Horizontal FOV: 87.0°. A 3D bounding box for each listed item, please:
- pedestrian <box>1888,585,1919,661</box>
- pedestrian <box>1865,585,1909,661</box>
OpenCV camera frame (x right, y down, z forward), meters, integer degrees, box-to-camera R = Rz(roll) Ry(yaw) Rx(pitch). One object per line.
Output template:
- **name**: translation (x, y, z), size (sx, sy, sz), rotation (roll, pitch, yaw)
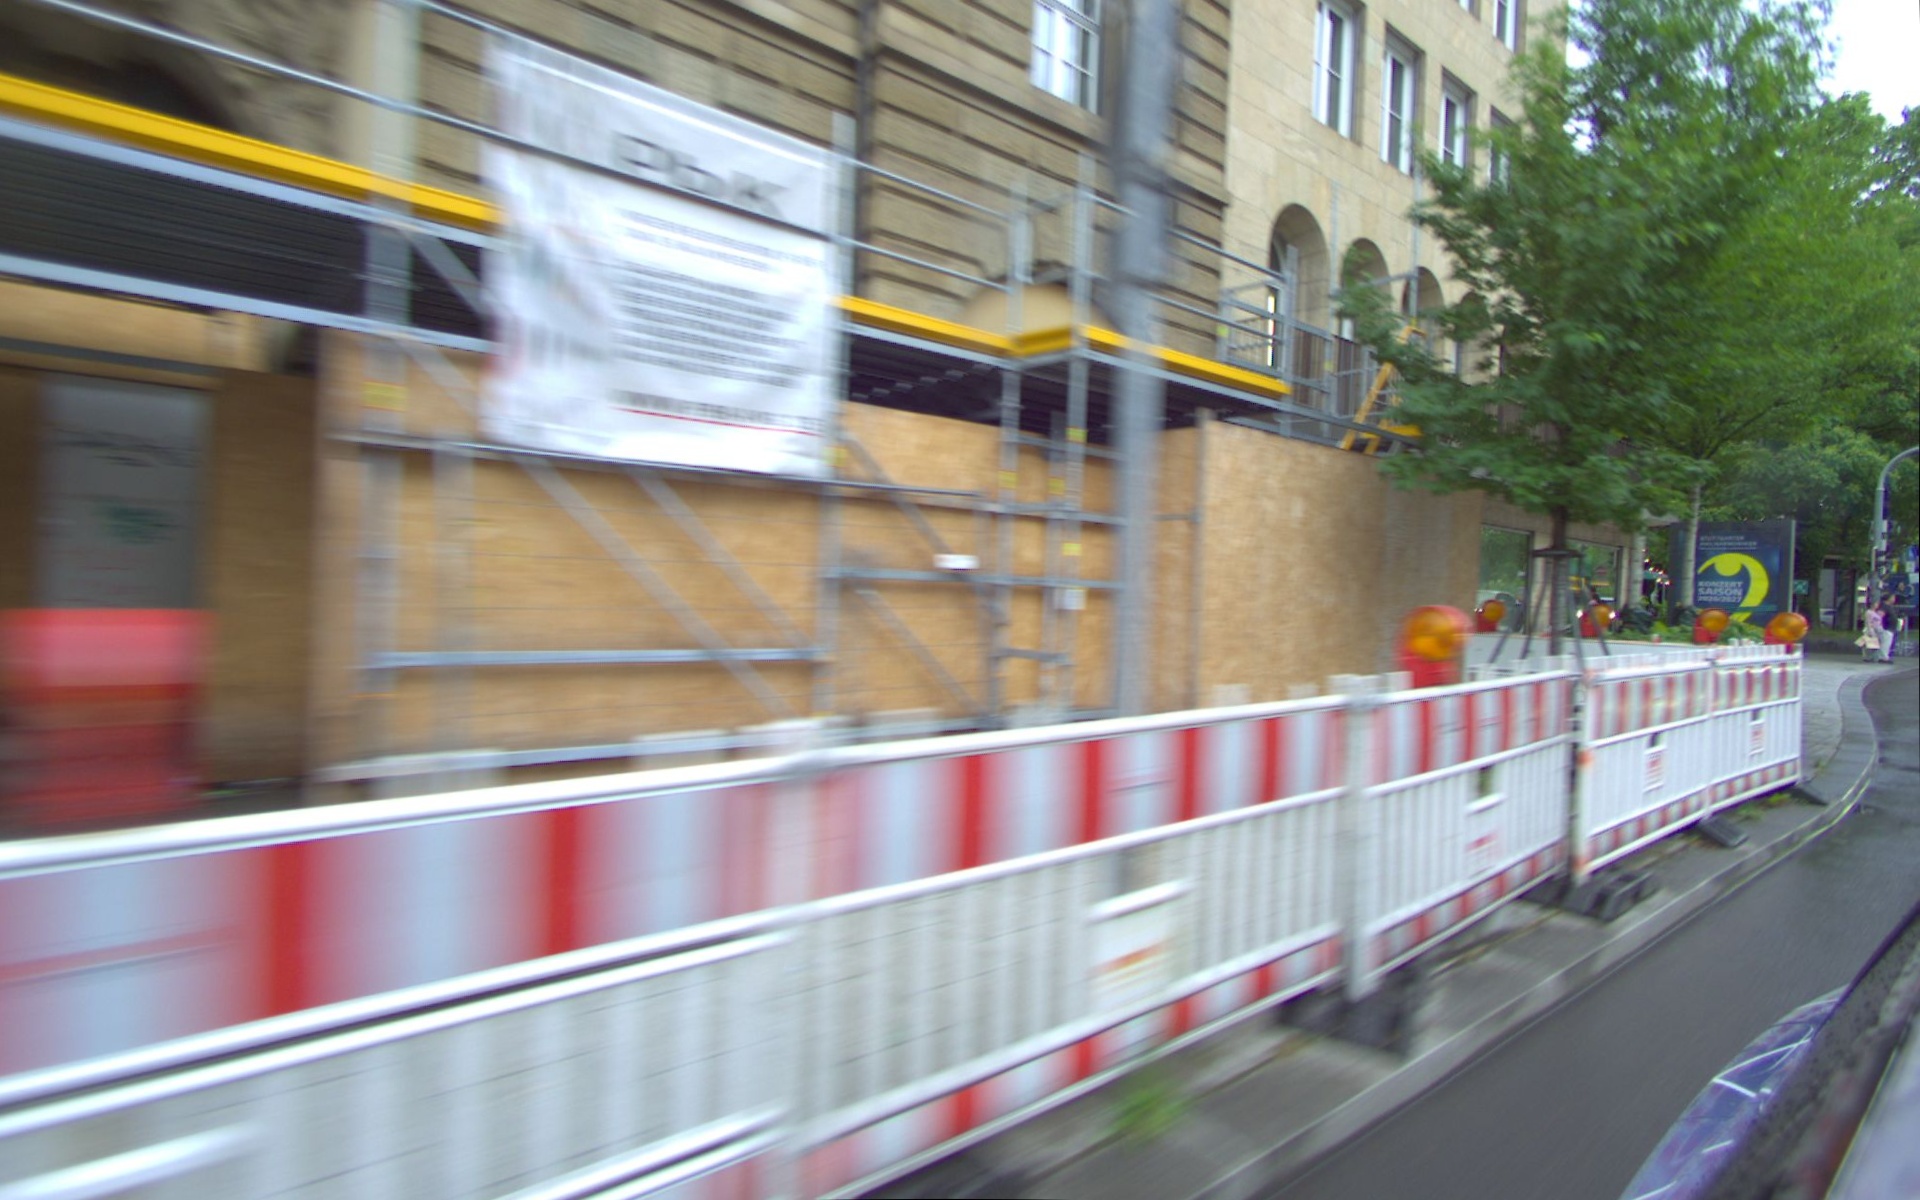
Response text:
- **pedestrian**: translation (23.871, 0.570, 25.450), size (0.552, 1.857, 0.635), rotation (0, 1, -35)
- **pedestrian**: translation (23.091, 0.564, 25.213), size (0.585, 1.857, 0.624), rotation (1, 1, 24)
